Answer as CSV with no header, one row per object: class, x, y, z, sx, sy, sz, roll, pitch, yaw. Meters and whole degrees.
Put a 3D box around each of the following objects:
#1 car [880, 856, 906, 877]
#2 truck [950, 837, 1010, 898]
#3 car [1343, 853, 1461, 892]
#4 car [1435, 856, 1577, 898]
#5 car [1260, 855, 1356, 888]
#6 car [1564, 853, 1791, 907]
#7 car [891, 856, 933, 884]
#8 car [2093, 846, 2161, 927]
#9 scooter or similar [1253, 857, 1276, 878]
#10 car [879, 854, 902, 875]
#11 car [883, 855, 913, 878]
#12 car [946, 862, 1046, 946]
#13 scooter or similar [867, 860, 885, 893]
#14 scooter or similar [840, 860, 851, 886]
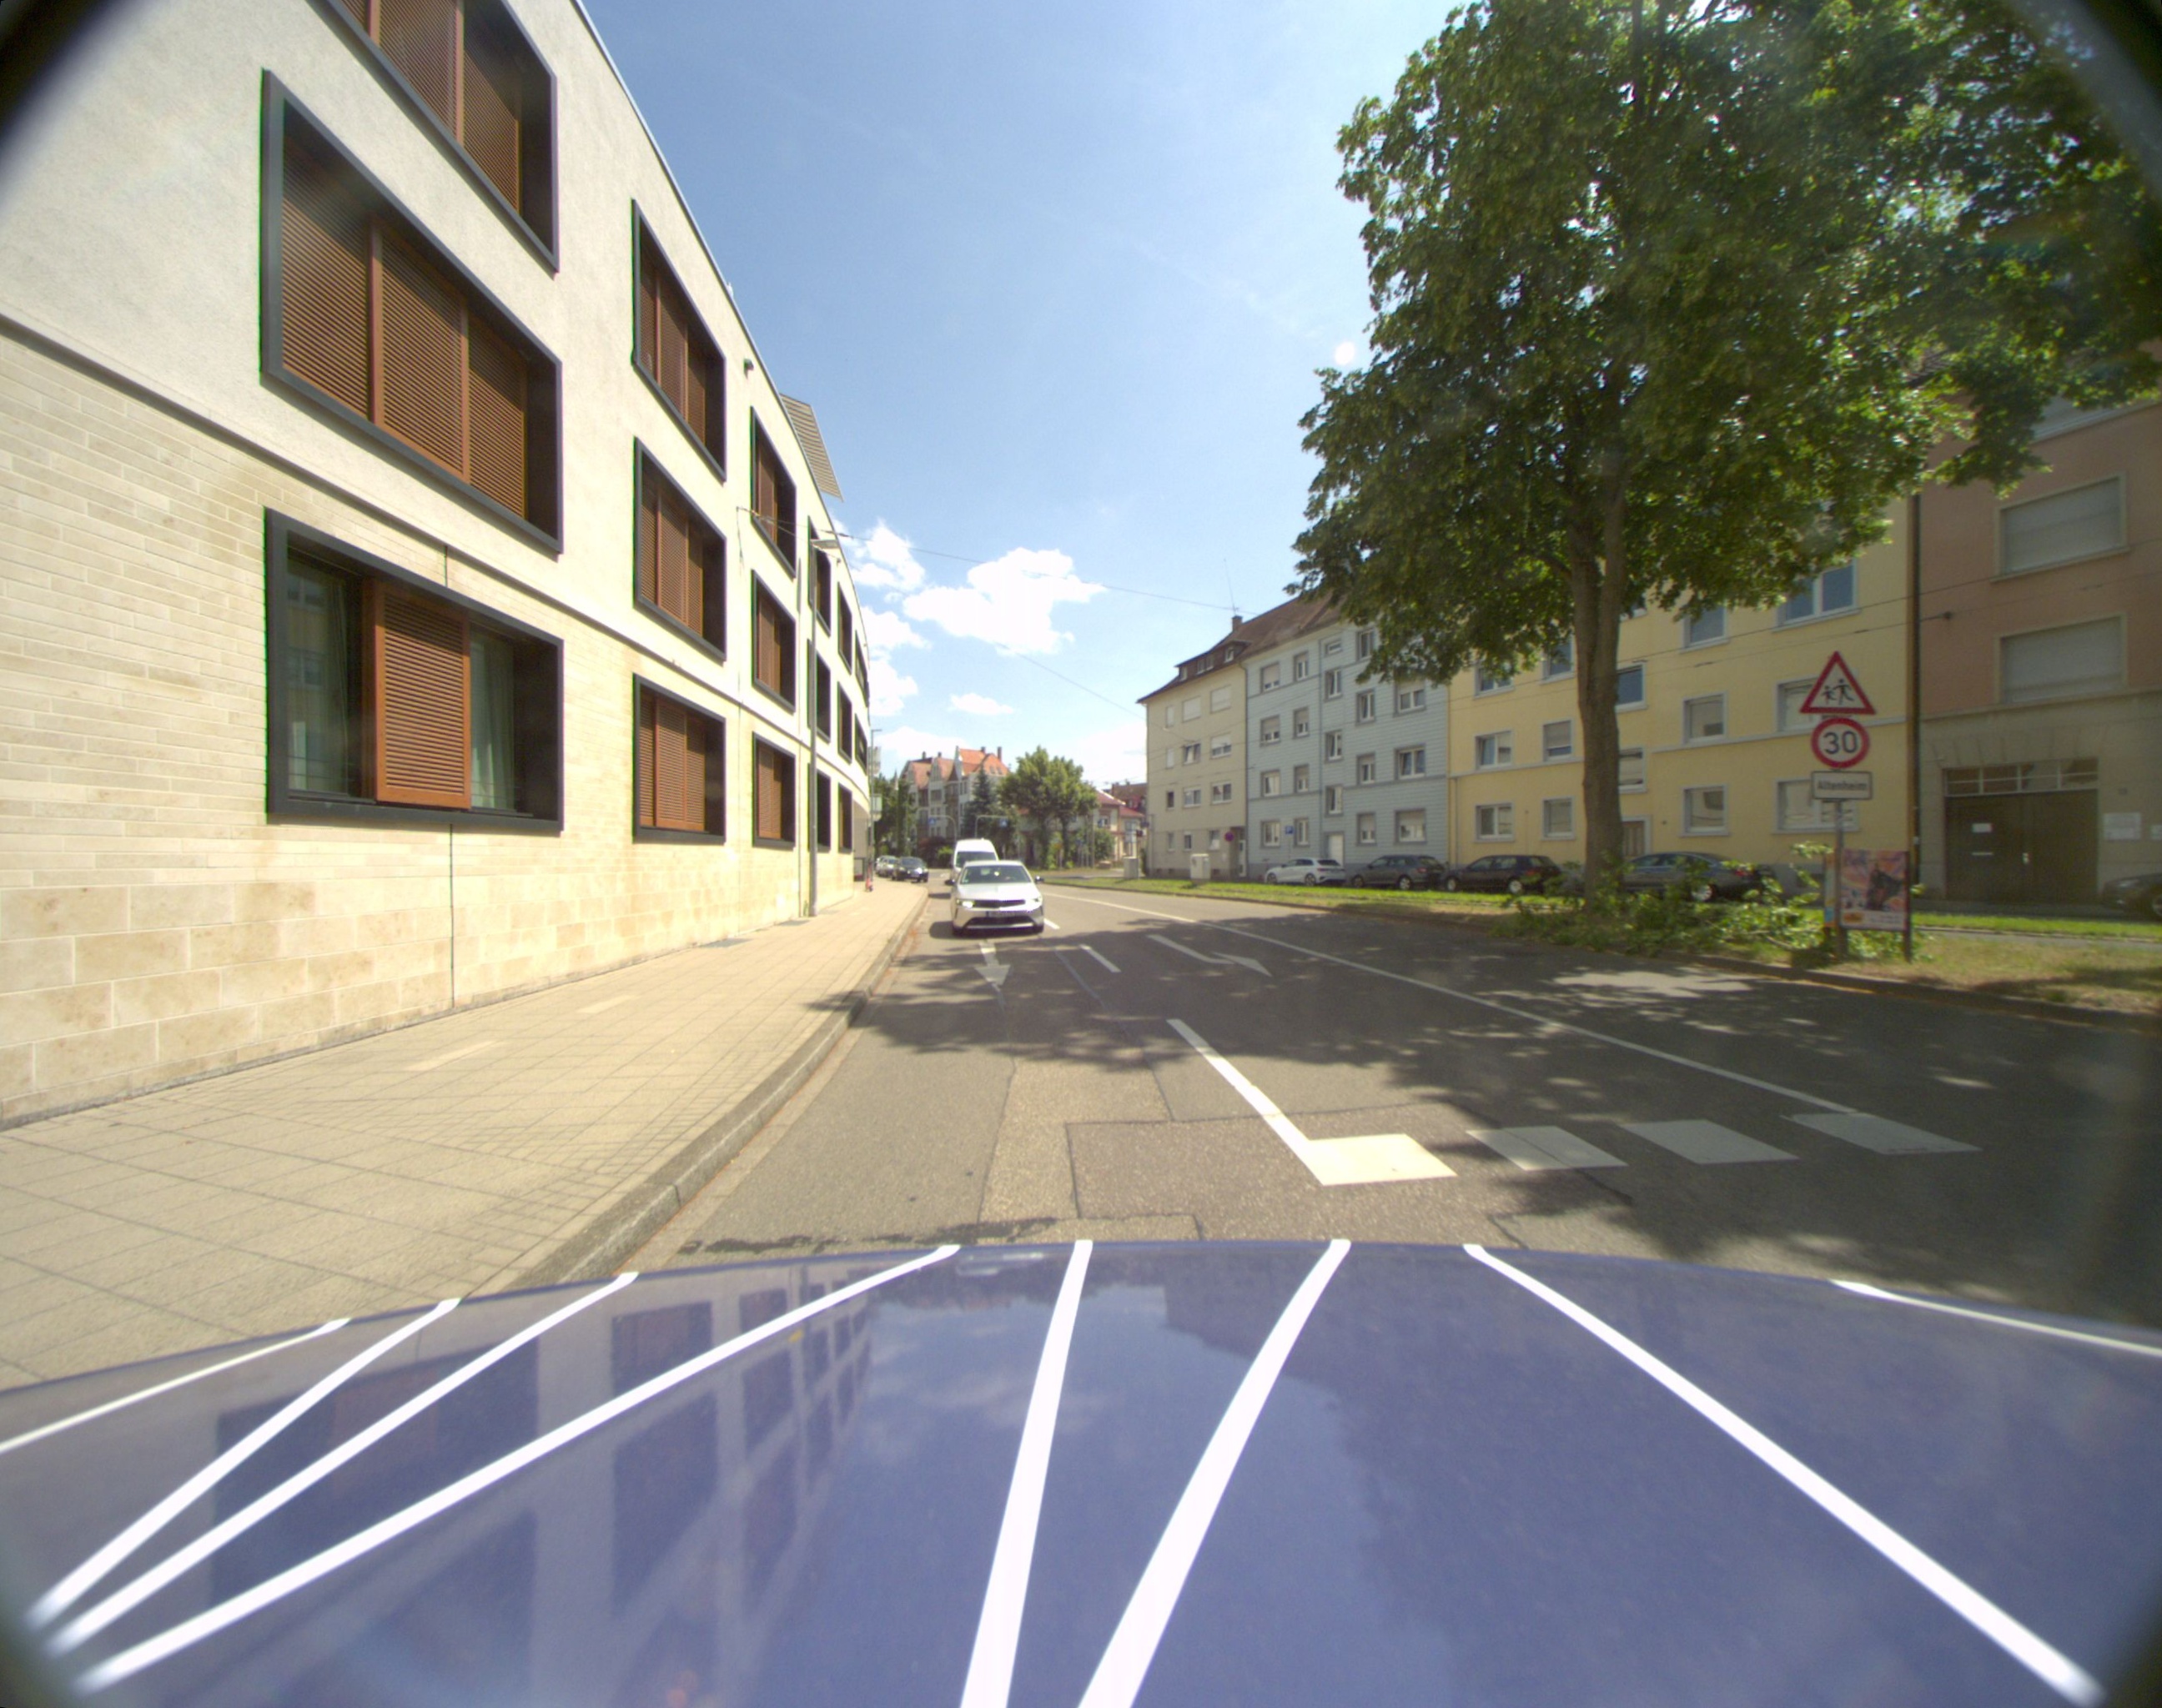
car,-14.210,0.928,57.444,1.733,1.424,4.037,4,-1,-15
truck,-4.177,0.490,30.758,2.022,2.236,5.402,-1,0,-11
car,13.212,0.744,31.565,1.937,1.496,4.317,1,-1,-26
car,14.996,0.788,27.051,1.839,1.391,4.134,1,-1,-23
car,10.780,0.813,36.347,1.937,1.442,4.367,3,-2,-26
car,17.062,0.709,22.073,1.936,1.389,4.854,2,-1,-23
car,-10.424,0.919,46.584,1.808,1.500,4.539,4,-1,-20
car,21.277,0.605,12.746,1.936,1.481,4.853,2,-1,-24
scooter or similar,10.742,0.769,44.526,0.641,1.216,1.318,-1,1,-24
car,-16.266,0.869,65.058,1.733,1.601,3.796,2,0,-12
car,-12.810,0.873,53.029,1.599,1.424,3.700,4,-1,-19
car,-1.682,0.925,15.984,1.802,1.457,4.169,-1,0,-4
scooter or similar,-8.148,0.871,30.122,0.584,1.253,1.365,2,0,-18
scooter or similar,-11.229,0.913,36.230,0.424,1.204,1.312,0,0,-20
